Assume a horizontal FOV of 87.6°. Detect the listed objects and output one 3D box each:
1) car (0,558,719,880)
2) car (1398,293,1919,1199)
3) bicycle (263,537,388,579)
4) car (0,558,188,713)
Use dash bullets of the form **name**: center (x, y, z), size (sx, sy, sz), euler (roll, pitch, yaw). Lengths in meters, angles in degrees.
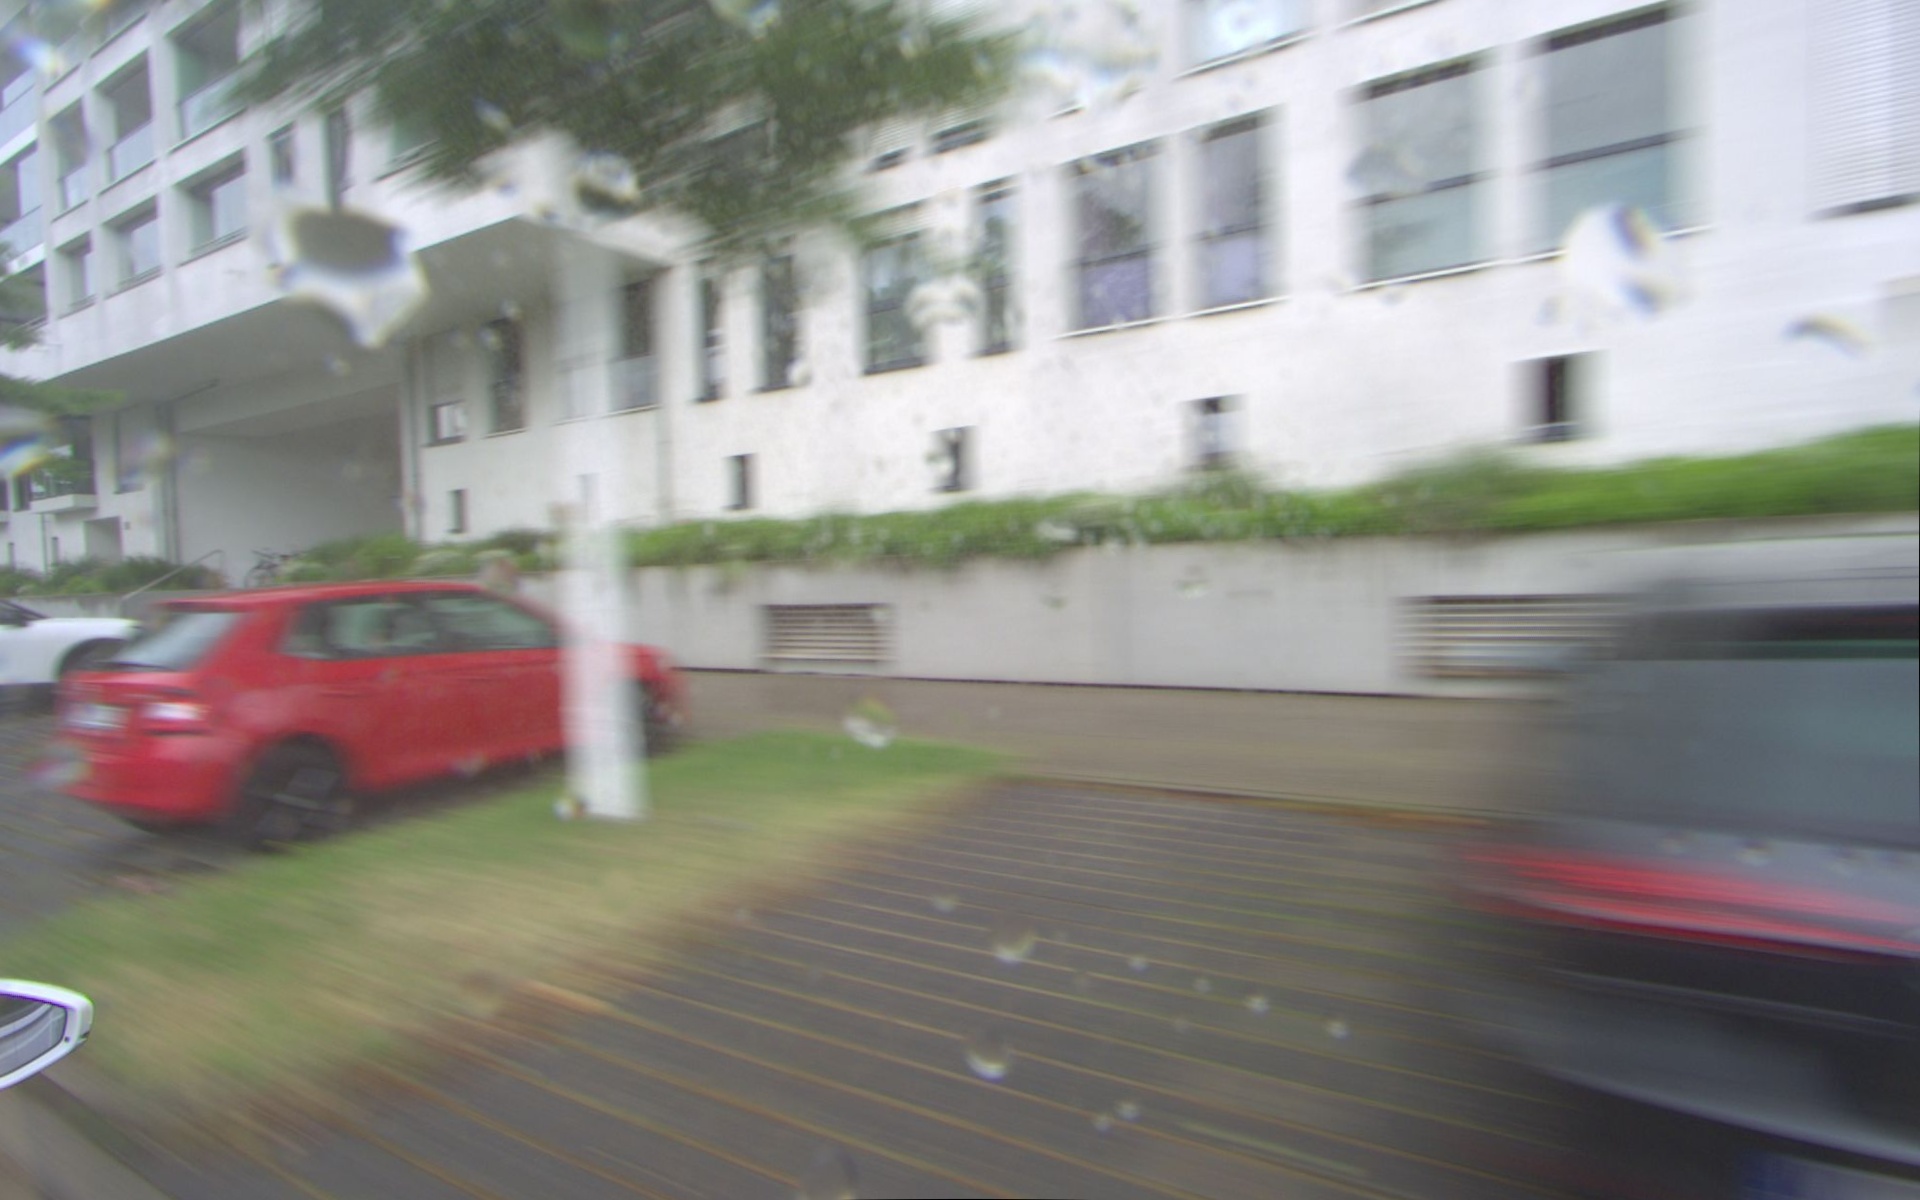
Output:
- **car**: center (-3.817, 0.542, 7.038), size (1.795, 1.471, 3.977), euler (-2, 3, 31)
- **car**: center (2.371, 0.330, 2.978), size (1.568, 1.494, 3.951), euler (-1, 0, 29)
- **bicycle**: center (-18.362, -1.197, 29.050), size (2.935, 1.133, 0.907), euler (-1, 0, -43)
- **car**: center (-12.462, 0.549, 12.047), size (1.857, 1.710, 4.528), euler (-1, 6, 29)
